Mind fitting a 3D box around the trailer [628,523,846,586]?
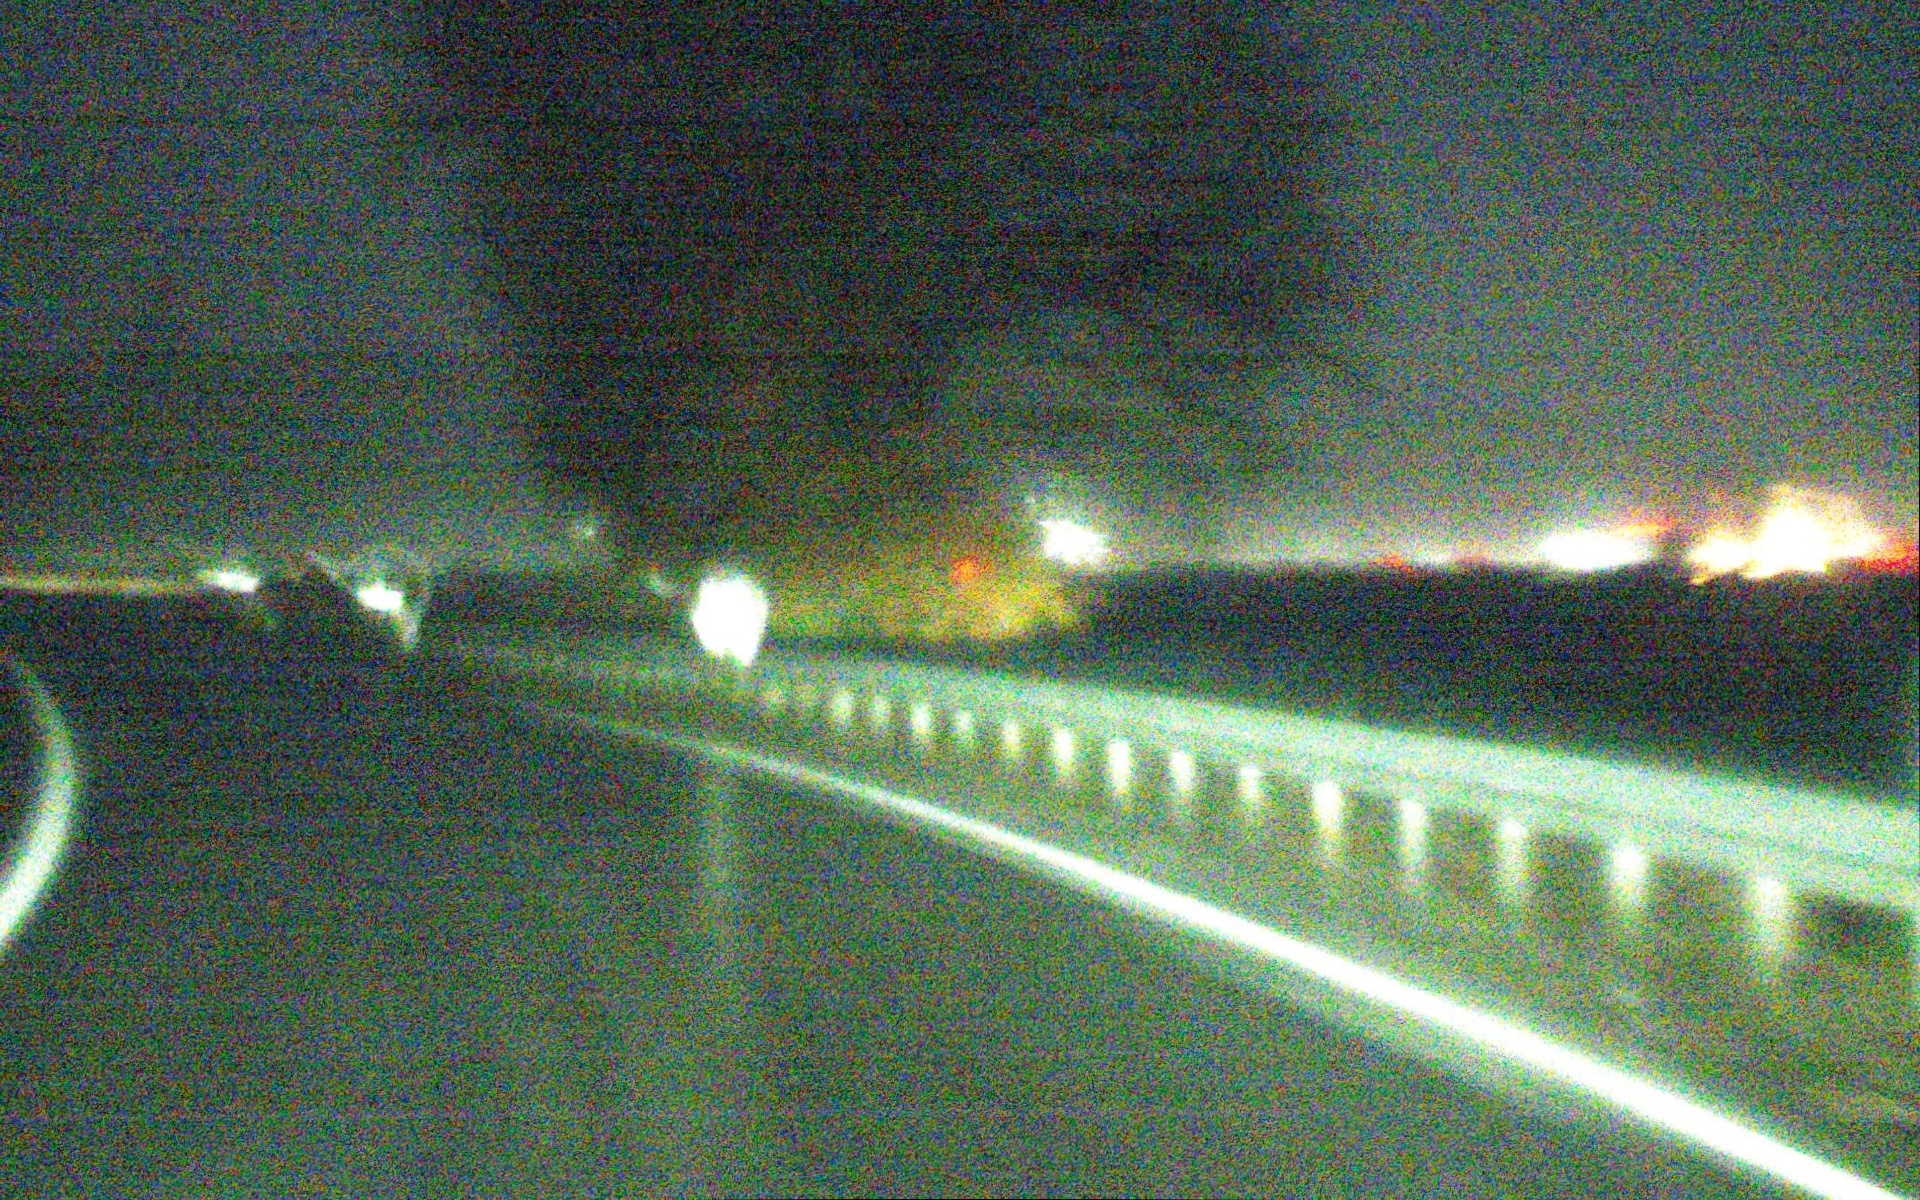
[{"bbox_3d":[-10.523,-2.133,164.180,2.693,2.690,12.830,3,1,36],"label":"trailer"}]
